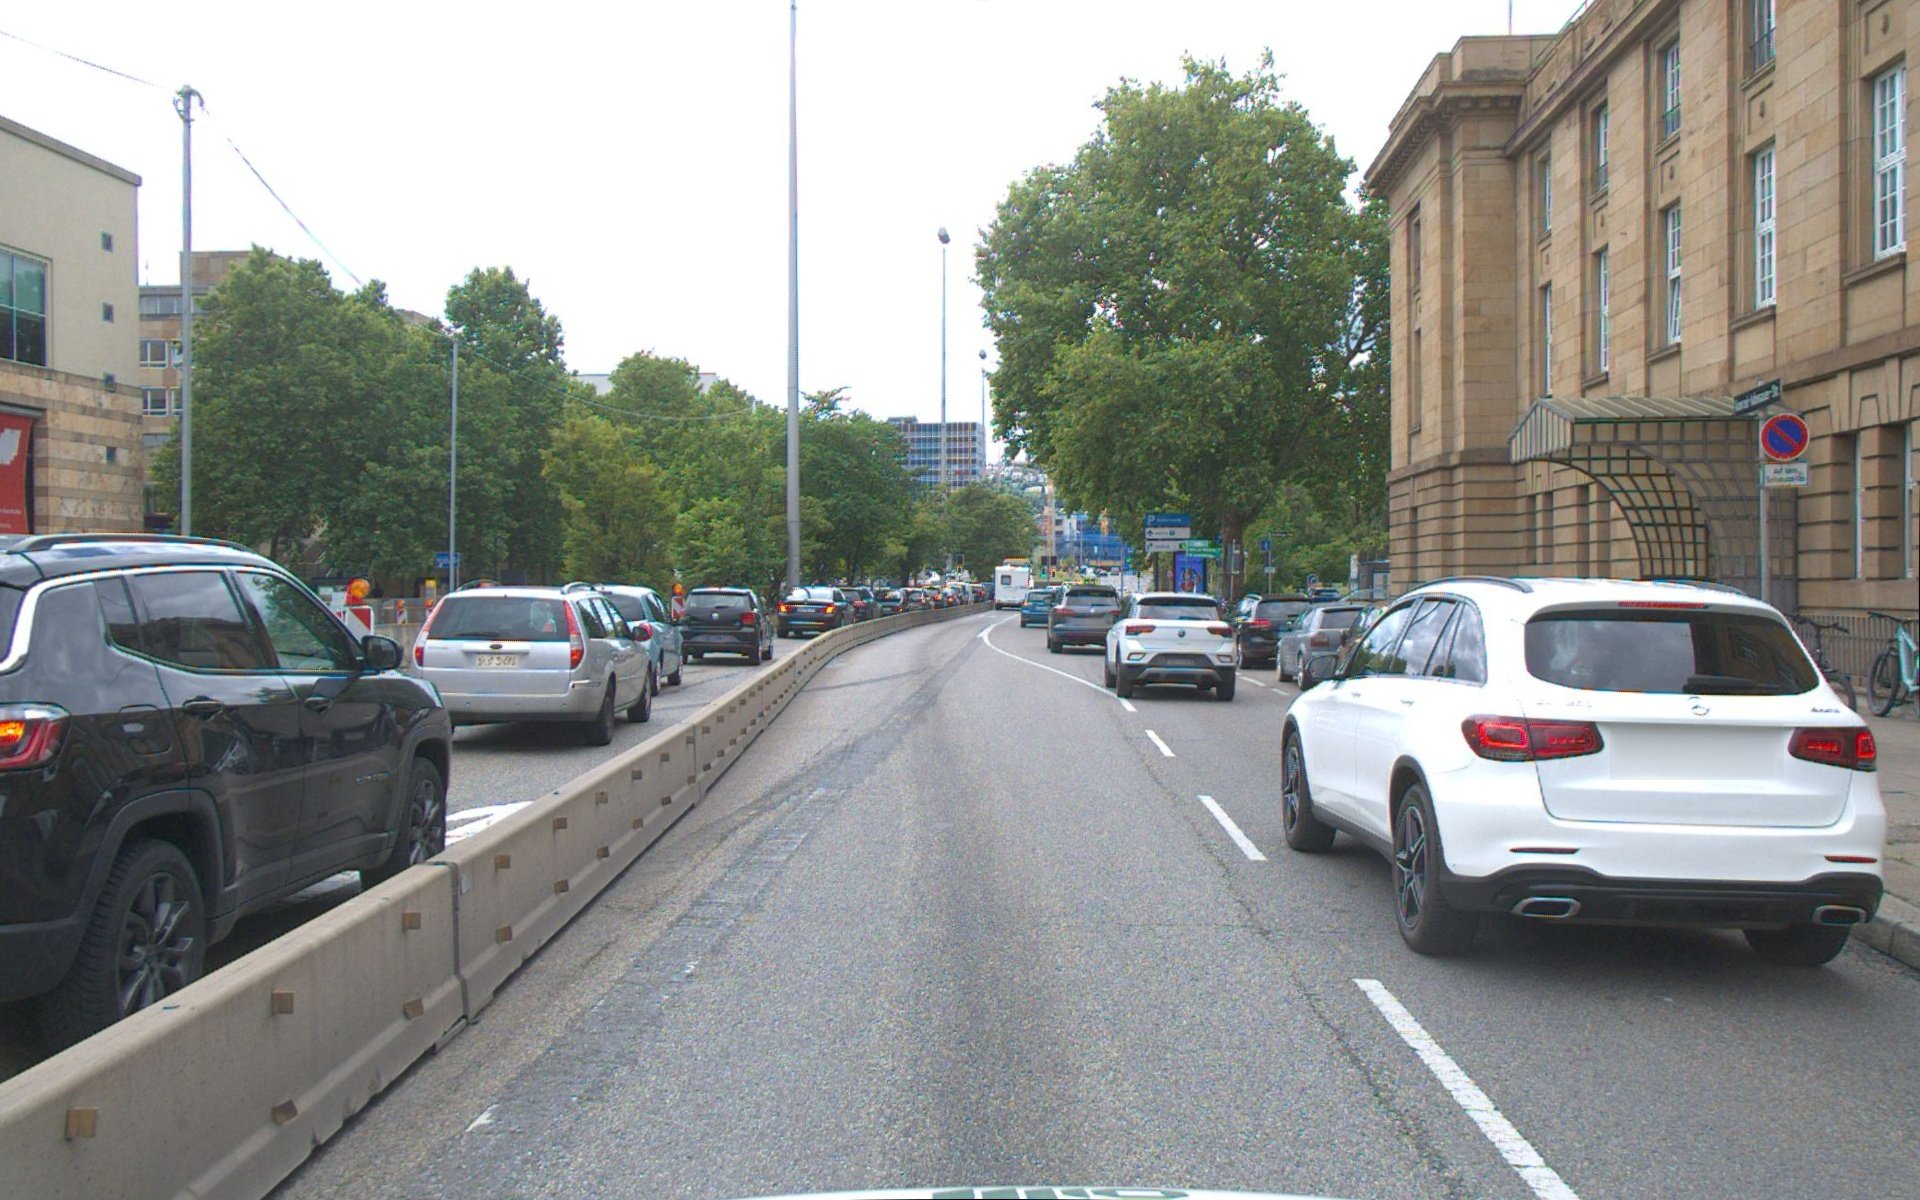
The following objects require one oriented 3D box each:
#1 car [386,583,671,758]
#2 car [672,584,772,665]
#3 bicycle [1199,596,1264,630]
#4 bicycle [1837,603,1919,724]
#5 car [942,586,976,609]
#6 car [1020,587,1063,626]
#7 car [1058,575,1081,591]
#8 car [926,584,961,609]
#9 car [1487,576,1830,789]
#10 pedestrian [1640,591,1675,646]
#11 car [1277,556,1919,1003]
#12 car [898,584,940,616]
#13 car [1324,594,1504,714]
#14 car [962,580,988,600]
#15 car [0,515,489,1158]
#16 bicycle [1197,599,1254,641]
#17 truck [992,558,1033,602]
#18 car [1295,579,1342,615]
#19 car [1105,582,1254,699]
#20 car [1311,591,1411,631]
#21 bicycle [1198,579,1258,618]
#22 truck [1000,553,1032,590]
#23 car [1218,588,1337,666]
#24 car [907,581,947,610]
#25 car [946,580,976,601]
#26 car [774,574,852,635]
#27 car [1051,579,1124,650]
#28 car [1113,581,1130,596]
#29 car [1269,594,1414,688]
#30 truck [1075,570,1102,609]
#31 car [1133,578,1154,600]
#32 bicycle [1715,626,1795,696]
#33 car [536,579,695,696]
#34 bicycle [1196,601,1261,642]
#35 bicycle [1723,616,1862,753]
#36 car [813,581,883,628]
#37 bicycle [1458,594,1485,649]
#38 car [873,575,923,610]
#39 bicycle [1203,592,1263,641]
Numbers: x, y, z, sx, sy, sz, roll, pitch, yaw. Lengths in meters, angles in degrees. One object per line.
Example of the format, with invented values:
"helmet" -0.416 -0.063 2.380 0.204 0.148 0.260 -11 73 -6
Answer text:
"car" -4.194 0.607 16.854 1.841 1.507 4.702 1 0 -3
"car" -4.648 0.436 32.794 1.626 1.479 4.195 1 0 -4
"bicycle" 7.540 0.346 45.884 1.693 0.933 0.613 0 0 23
"bicycle" 10.262 0.664 17.990 0.544 1.238 1.917 0 0 3
"car" -0.034 -0.160 99.223 1.624 1.342 3.550 1 0 7
"car" 3.223 0.251 65.096 1.624 1.438 3.549 1 0 4
"car" 9.845 -1.490 148.087 1.906 1.342 4.019 1 0 5
"car" -0.916 -0.194 93.329 1.624 1.342 3.550 1 0 5
"car" 5.997 0.626 14.661 1.514 1.579 3.709 -3 0 2
"pedestrian" 11.584 0.310 27.479 0.420 0.889 0.373 2 0 5
"car" 2.910 0.677 8.558 1.751 1.653 4.438 2 0 1
"car" -1.908 0.010 77.719 1.626 1.461 3.962 1 0 4
"car" 6.148 0.674 22.800 1.582 1.480 3.860 -1 0 3
"car" 1.109 -0.721 120.020 1.624 1.342 3.549 1 0 5
"car" -3.211 0.593 6.254 1.740 1.649 4.045 1 0 -1
"bicycle" 7.527 0.566 46.875 1.587 1.150 0.467 1 0 -23
"truck" 3.658 -1.367 114.484 2.566 2.911 7.082 1 1 3
"car" 17.358 -0.182 80.259 1.723 1.578 4.030 0 3 5
"car" 3.307 0.571 25.546 1.759 1.636 3.754 1 0 0
"car" 16.413 0.439 67.813 3.755 1.596 1.680 0 0 4
"bicycle" 7.918 -0.057 48.818 1.692 1.110 0.381 2 0 17
"truck" 4.994 -2.493 146.902 2.635 3.044 5.640 2 0 3
"car" 6.607 0.524 34.796 1.751 1.512 4.326 1 0 1
"car" -1.693 -0.233 85.423 1.738 1.445 4.002 0 1 4
"car" 0.102 -0.628 108.219 1.624 1.342 3.549 1 0 5
"car" -4.222 0.105 48.224 1.884 1.664 4.935 1 0 -1
"car" 3.161 0.334 41.515 1.625 1.668 3.548 1 0 2
"car" 17.876 -1.267 183.280 1.721 1.698 4.170 0 1 5
"car" 6.379 0.645 28.024 1.673 1.451 3.998 -1 0 3
"truck" 14.360 -1.142 184.956 2.817 4.174 6.641 2 0 4
"car" 17.829 -1.044 160.581 1.951 2.049 4.003 1 0 5
"bicycle" 10.524 0.793 21.944 0.299 0.859 1.879 2 0 5
"car" -4.899 0.488 23.995 1.639 1.533 3.852 1 0 -3
"bicycle" 7.297 0.579 44.945 1.629 1.093 0.585 1 0 23
"bicycle" 7.736 0.751 15.441 0.450 1.177 1.832 0 0 2
"car" -3.785 0.129 56.670 1.778 1.525 4.771 0 0 4
"bicycle" 11.444 0.467 37.043 0.270 1.203 1.539 -1 0 6
"car" -2.598 -0.328 69.906 1.643 1.390 4.545 0 1 4
"bicycle" 7.496 0.451 45.449 1.511 1.278 0.543 2 0 23
